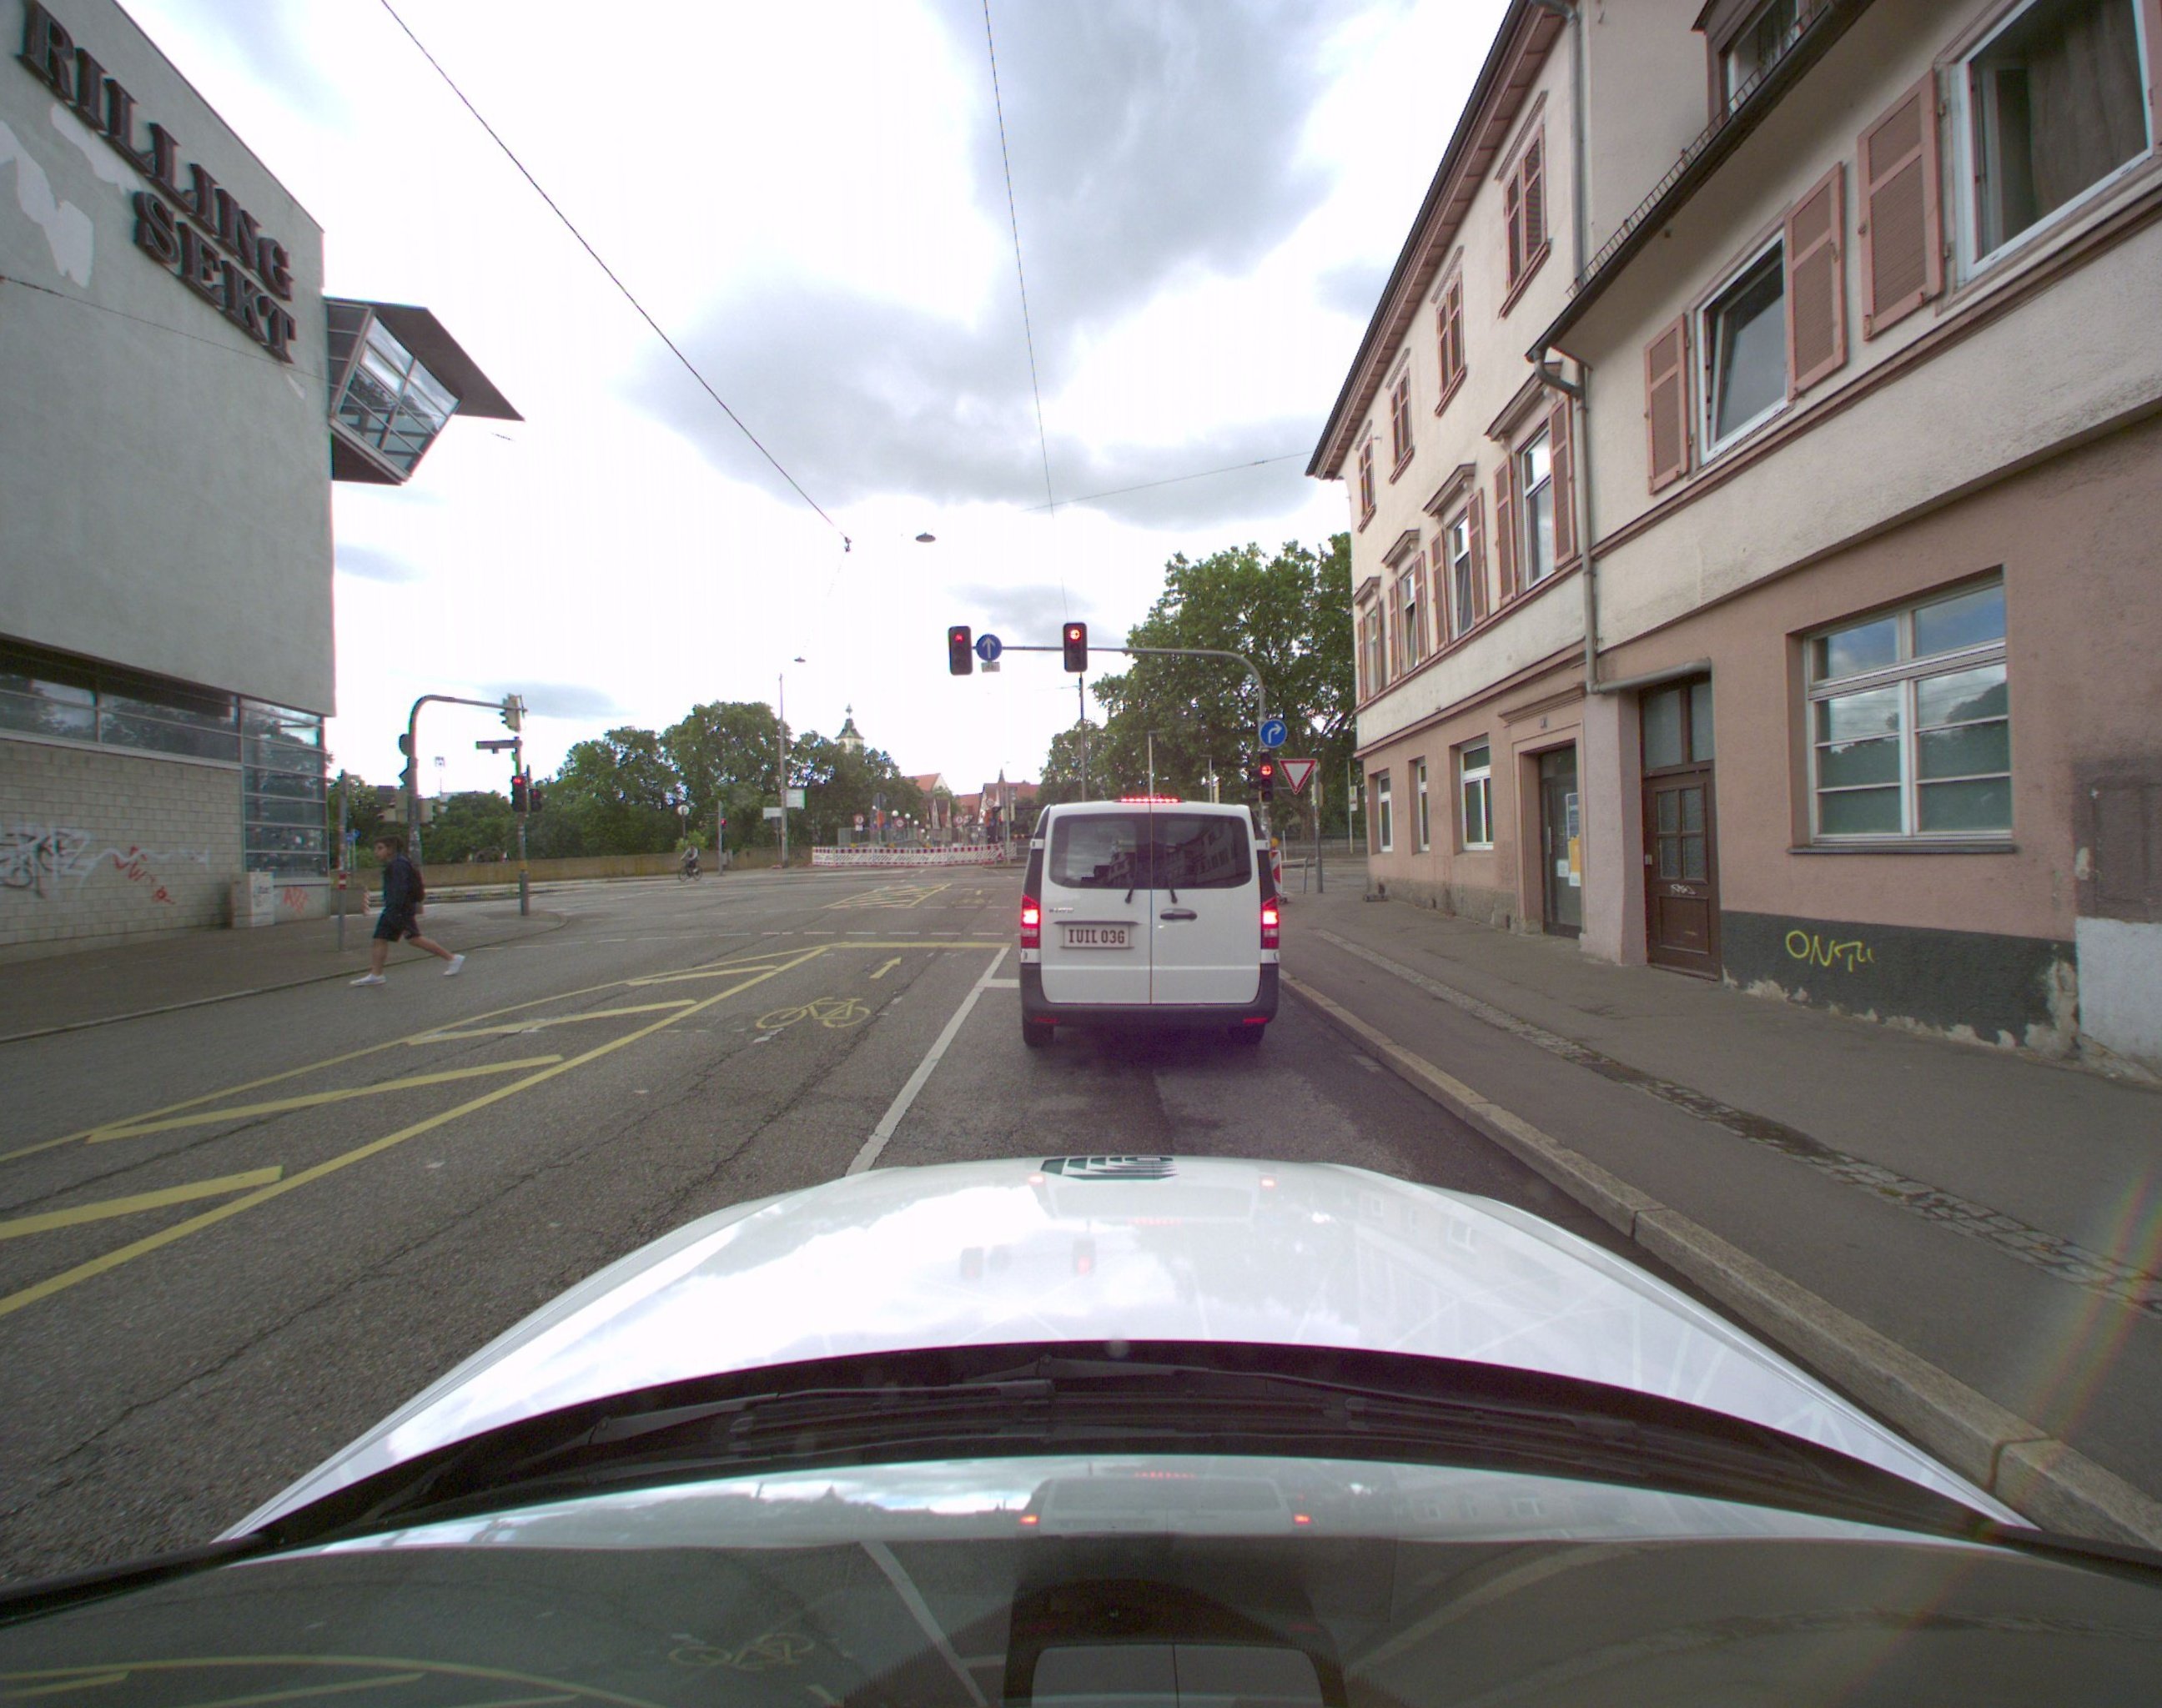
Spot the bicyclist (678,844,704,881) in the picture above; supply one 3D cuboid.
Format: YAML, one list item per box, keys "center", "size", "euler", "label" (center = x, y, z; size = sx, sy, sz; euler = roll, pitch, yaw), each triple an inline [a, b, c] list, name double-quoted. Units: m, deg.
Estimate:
- center: [-18.468, 0.403, 38.568]
  size: [0.719, 1.701, 0.812]
  euler: [-2, 0, 6]
  label: "bicyclist"

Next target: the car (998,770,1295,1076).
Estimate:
- center: [0.507, 0.404, 7.716]
  size: [1.943, 2.013, 4.700]
  euler: [0, 1, 2]
  label: "car"

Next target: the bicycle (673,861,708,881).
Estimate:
- center: [-18.477, 0.798, 38.593]
  size: [0.538, 0.892, 1.884]
  euler: [-2, 0, 6]
  label: "bicycle"

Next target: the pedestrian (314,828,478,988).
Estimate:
- center: [-8.477, 0.626, 10.143]
  size: [1.084, 1.886, 1.058]
  euler: [0, 1, 1]
  label: "pedestrian"
